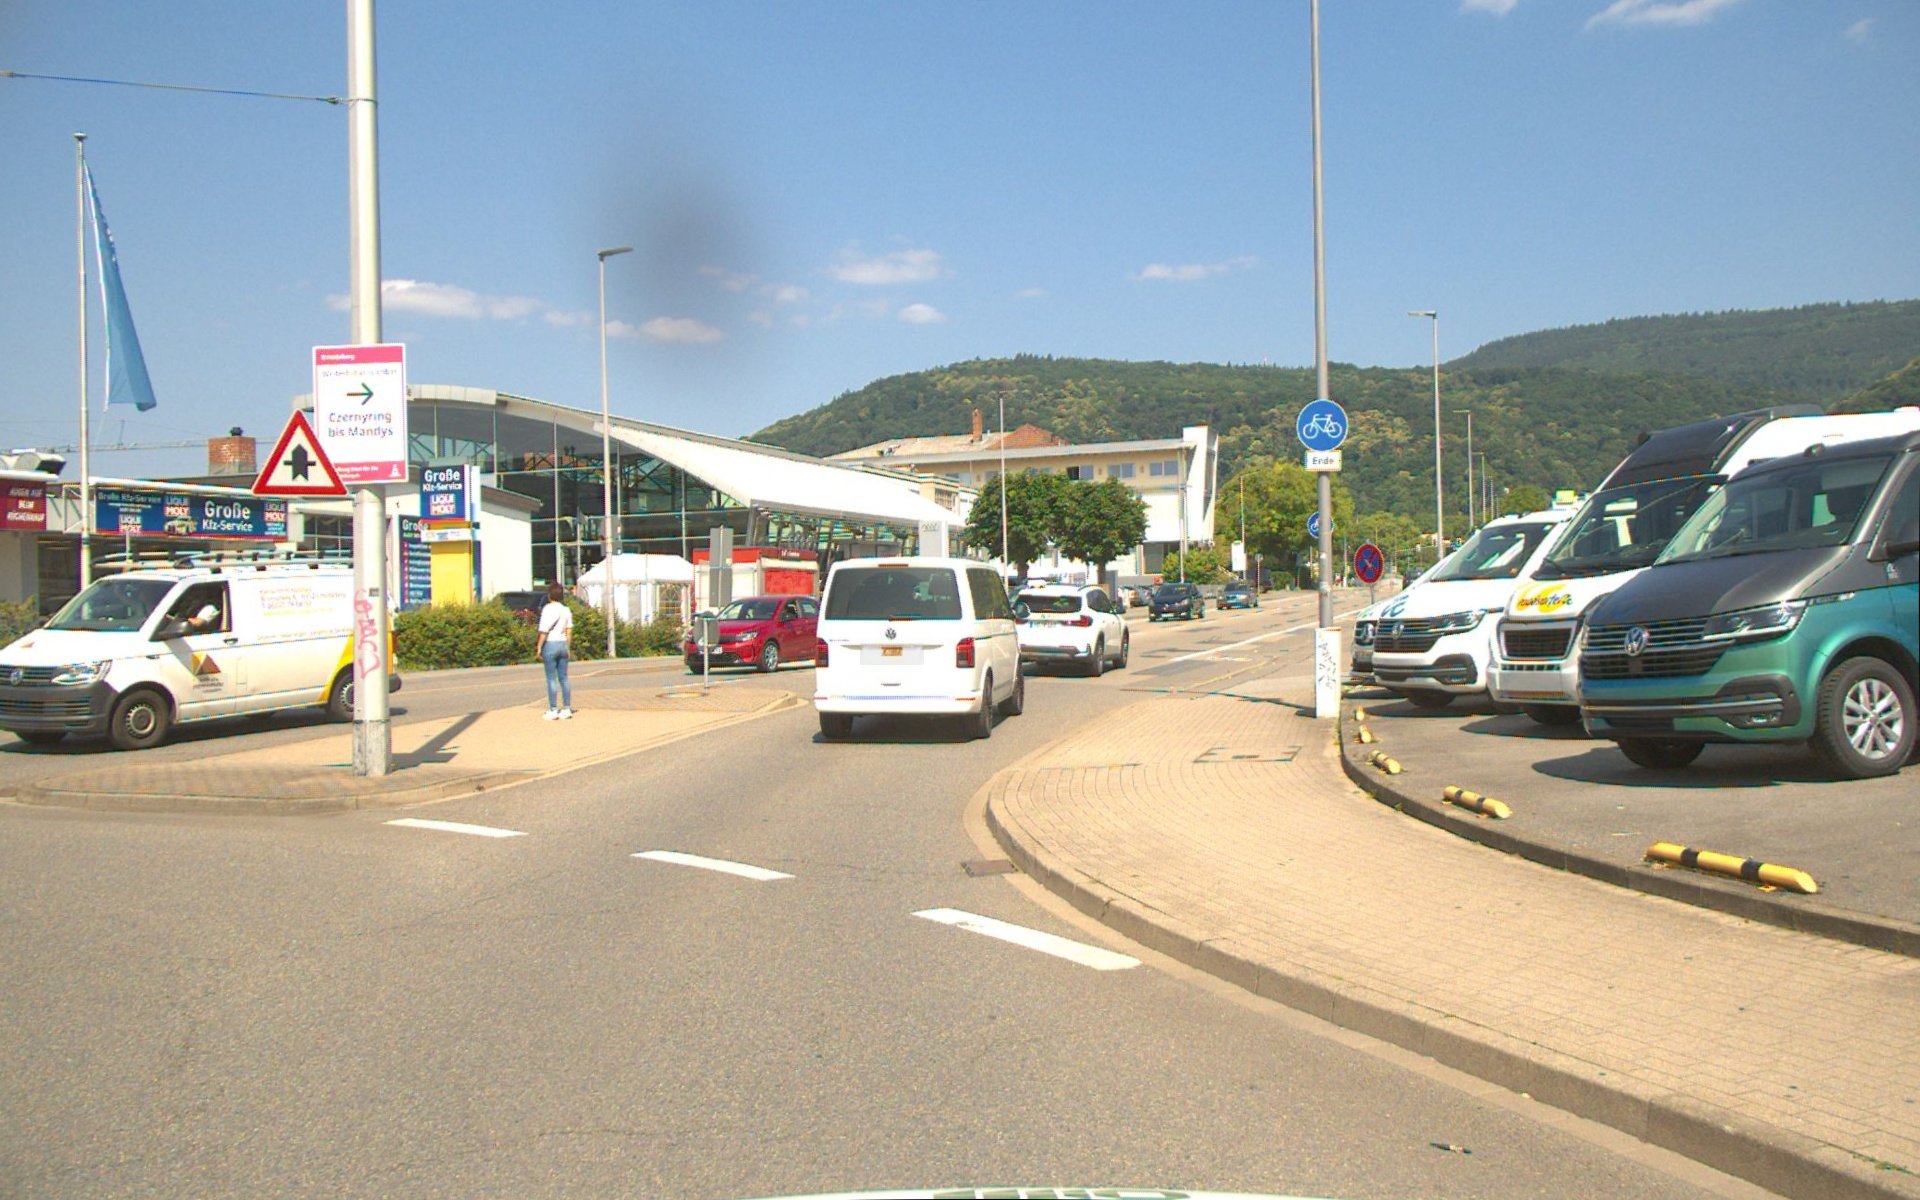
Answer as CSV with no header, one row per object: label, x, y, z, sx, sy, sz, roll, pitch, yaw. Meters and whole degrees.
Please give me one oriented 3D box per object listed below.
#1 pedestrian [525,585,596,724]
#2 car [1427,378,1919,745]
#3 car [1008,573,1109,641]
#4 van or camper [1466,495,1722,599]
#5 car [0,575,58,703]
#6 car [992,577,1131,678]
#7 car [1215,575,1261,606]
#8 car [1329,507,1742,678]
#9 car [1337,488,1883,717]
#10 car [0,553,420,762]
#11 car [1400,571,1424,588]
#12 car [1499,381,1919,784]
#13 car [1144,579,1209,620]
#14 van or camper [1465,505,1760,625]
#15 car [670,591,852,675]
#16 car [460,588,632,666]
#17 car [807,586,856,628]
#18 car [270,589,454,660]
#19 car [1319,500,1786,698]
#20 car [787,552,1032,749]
pedestrian,-5.006,0.670,20.709,0.749,1.685,0.668,-1,0,-22
car,7.390,-0.411,14.480,6.041,2.764,2.296,-2,0,-17
car,2.940,0.168,48.191,1.868,1.790,4.454,-2,1,17
van or camper,17.872,-1.440,46.905,6.469,2.606,3.400,-2,0,21
car,-16.546,0.668,24.780,1.919,2.000,5.280,-2,0,22
car,1.983,0.460,31.046,1.951,1.737,4.004,1,1,13
car,14.513,-0.510,86.312,1.802,1.489,4.003,-2,1,17
car,7.950,-0.101,23.037,5.049,2.131,2.044,-2,-1,-11
car,6.738,-0.007,17.277,5.058,2.035,2.017,-2,0,-15
car,-9.022,0.546,19.729,1.982,2.151,4.929,-1,1,27
car,36.991,-1.696,135.227,1.682,1.326,4.002,-2,1,18
car,6.384,-0.226,10.784,5.133,2.150,2.085,-4,-1,-19
car,8.656,-0.059,65.937,1.802,1.489,4.002,-2,1,18
van or camper,15.733,-0.801,40.200,6.369,2.606,2.975,-2,0,21
car,-3.781,0.625,32.125,1.803,1.490,4.144,-2,-1,20
car,-9.781,0.611,39.351,1.953,1.646,4.000,-2,1,22
car,-5.159,0.256,66.826,1.710,1.612,3.660,-2,0,-1
car,-15.616,0.601,43.516,1.841,1.616,4.931,-4,0,18
car,7.173,-0.044,20.192,5.042,2.048,1.926,-3,0,-11
car,-0.428,0.474,19.792,2.116,2.048,5.023,0,1,8
